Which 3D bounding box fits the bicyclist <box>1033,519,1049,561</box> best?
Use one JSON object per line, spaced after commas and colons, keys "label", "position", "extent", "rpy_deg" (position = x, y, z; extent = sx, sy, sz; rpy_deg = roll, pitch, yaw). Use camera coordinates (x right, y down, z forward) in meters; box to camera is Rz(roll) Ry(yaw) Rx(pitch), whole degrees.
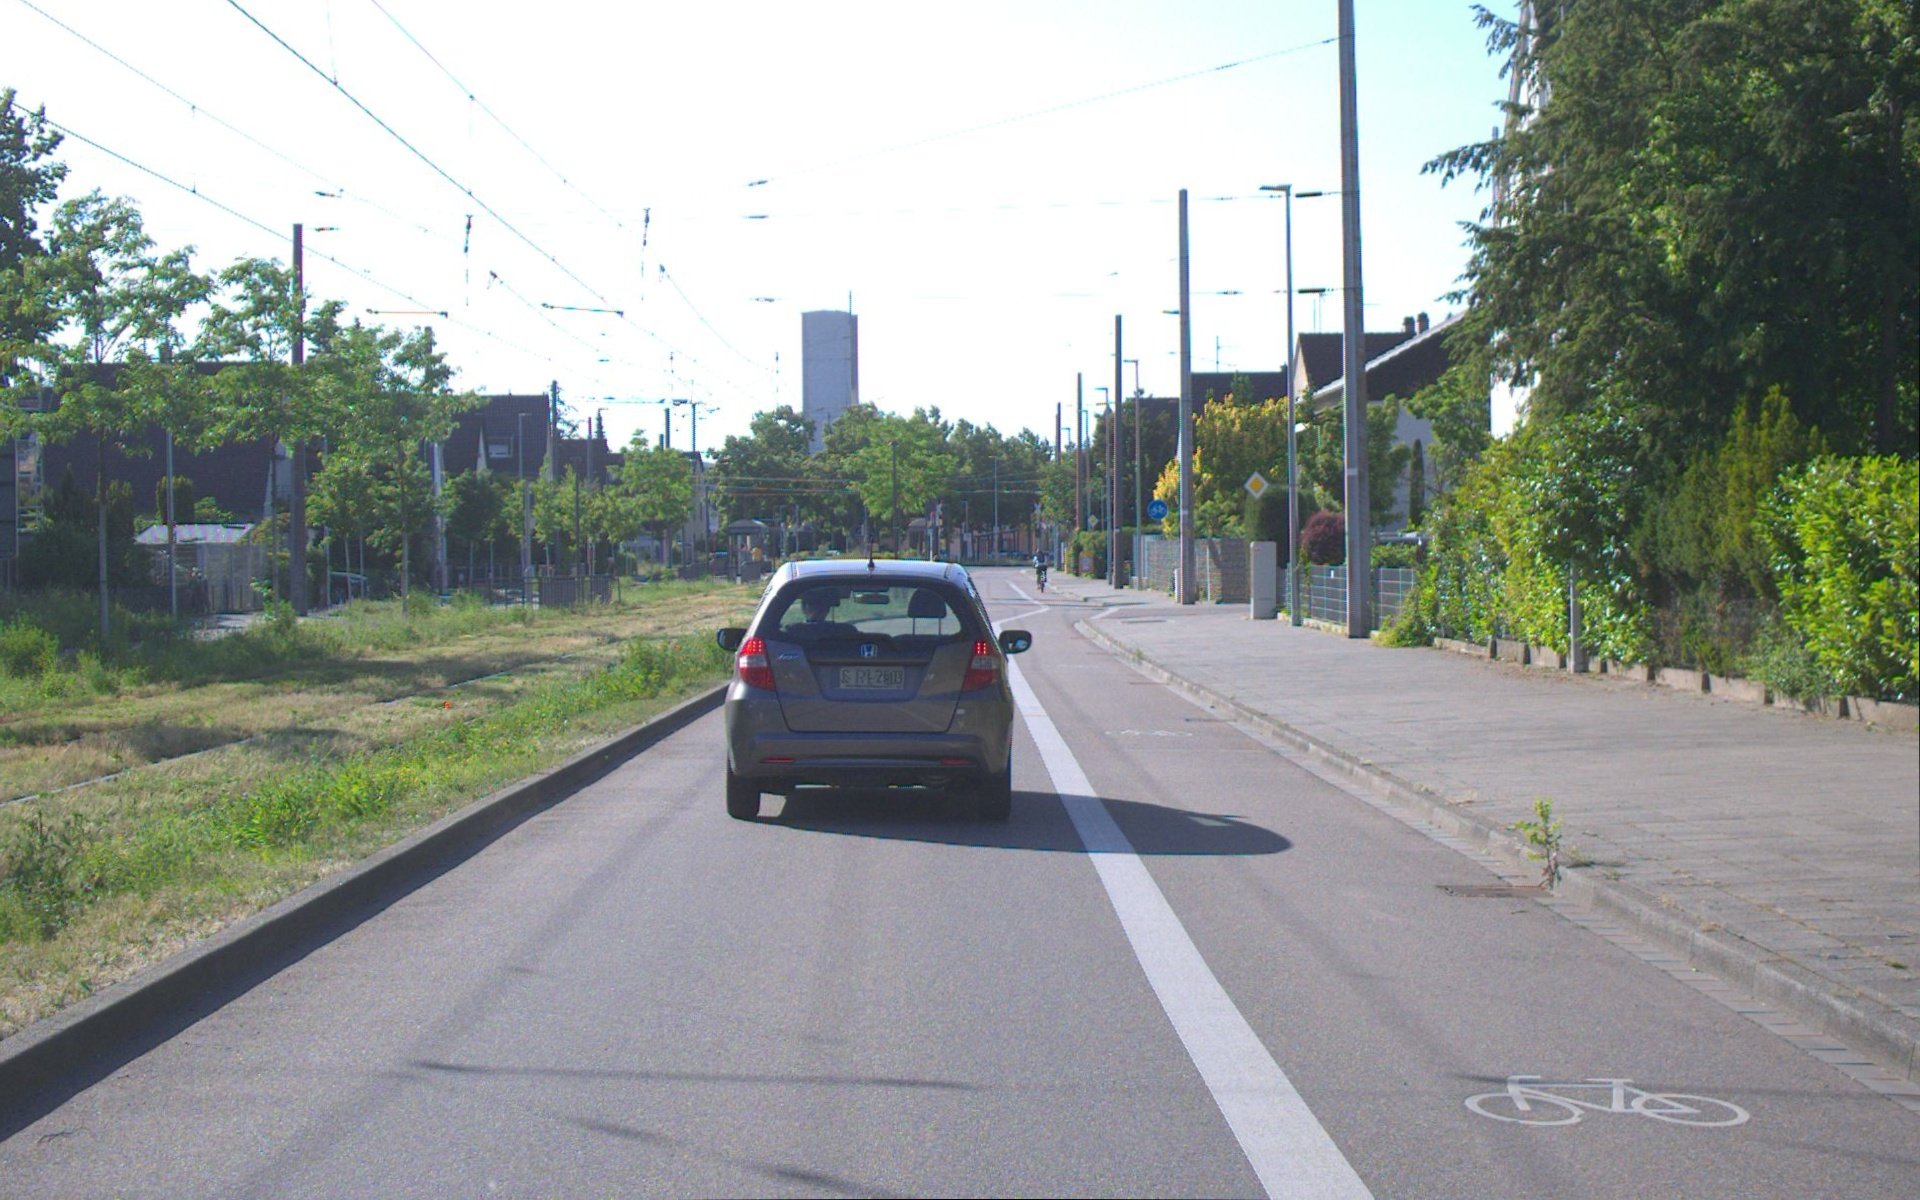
{"label": "bicyclist", "position": [3.357, -2.485, 142.221], "extent": [0.598, 1.695, 0.683], "rpy_deg": [1, 0, 0]}

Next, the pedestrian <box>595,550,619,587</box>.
{"label": "pedestrian", "position": [-15.821, -1.433, 154.079], "extent": [0.965, 1.635, 1.086], "rpy_deg": [-1, 1, 0]}

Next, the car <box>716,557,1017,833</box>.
{"label": "car", "position": [-0.570, 0.519, 21.145], "extent": [1.670, 1.530, 3.487], "rpy_deg": [1, 0, -1]}

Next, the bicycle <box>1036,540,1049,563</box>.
{"label": "bicycle", "position": [3.421, -2.006, 142.451], "extent": [0.475, 0.958, 1.657], "rpy_deg": [1, 0, 0]}
